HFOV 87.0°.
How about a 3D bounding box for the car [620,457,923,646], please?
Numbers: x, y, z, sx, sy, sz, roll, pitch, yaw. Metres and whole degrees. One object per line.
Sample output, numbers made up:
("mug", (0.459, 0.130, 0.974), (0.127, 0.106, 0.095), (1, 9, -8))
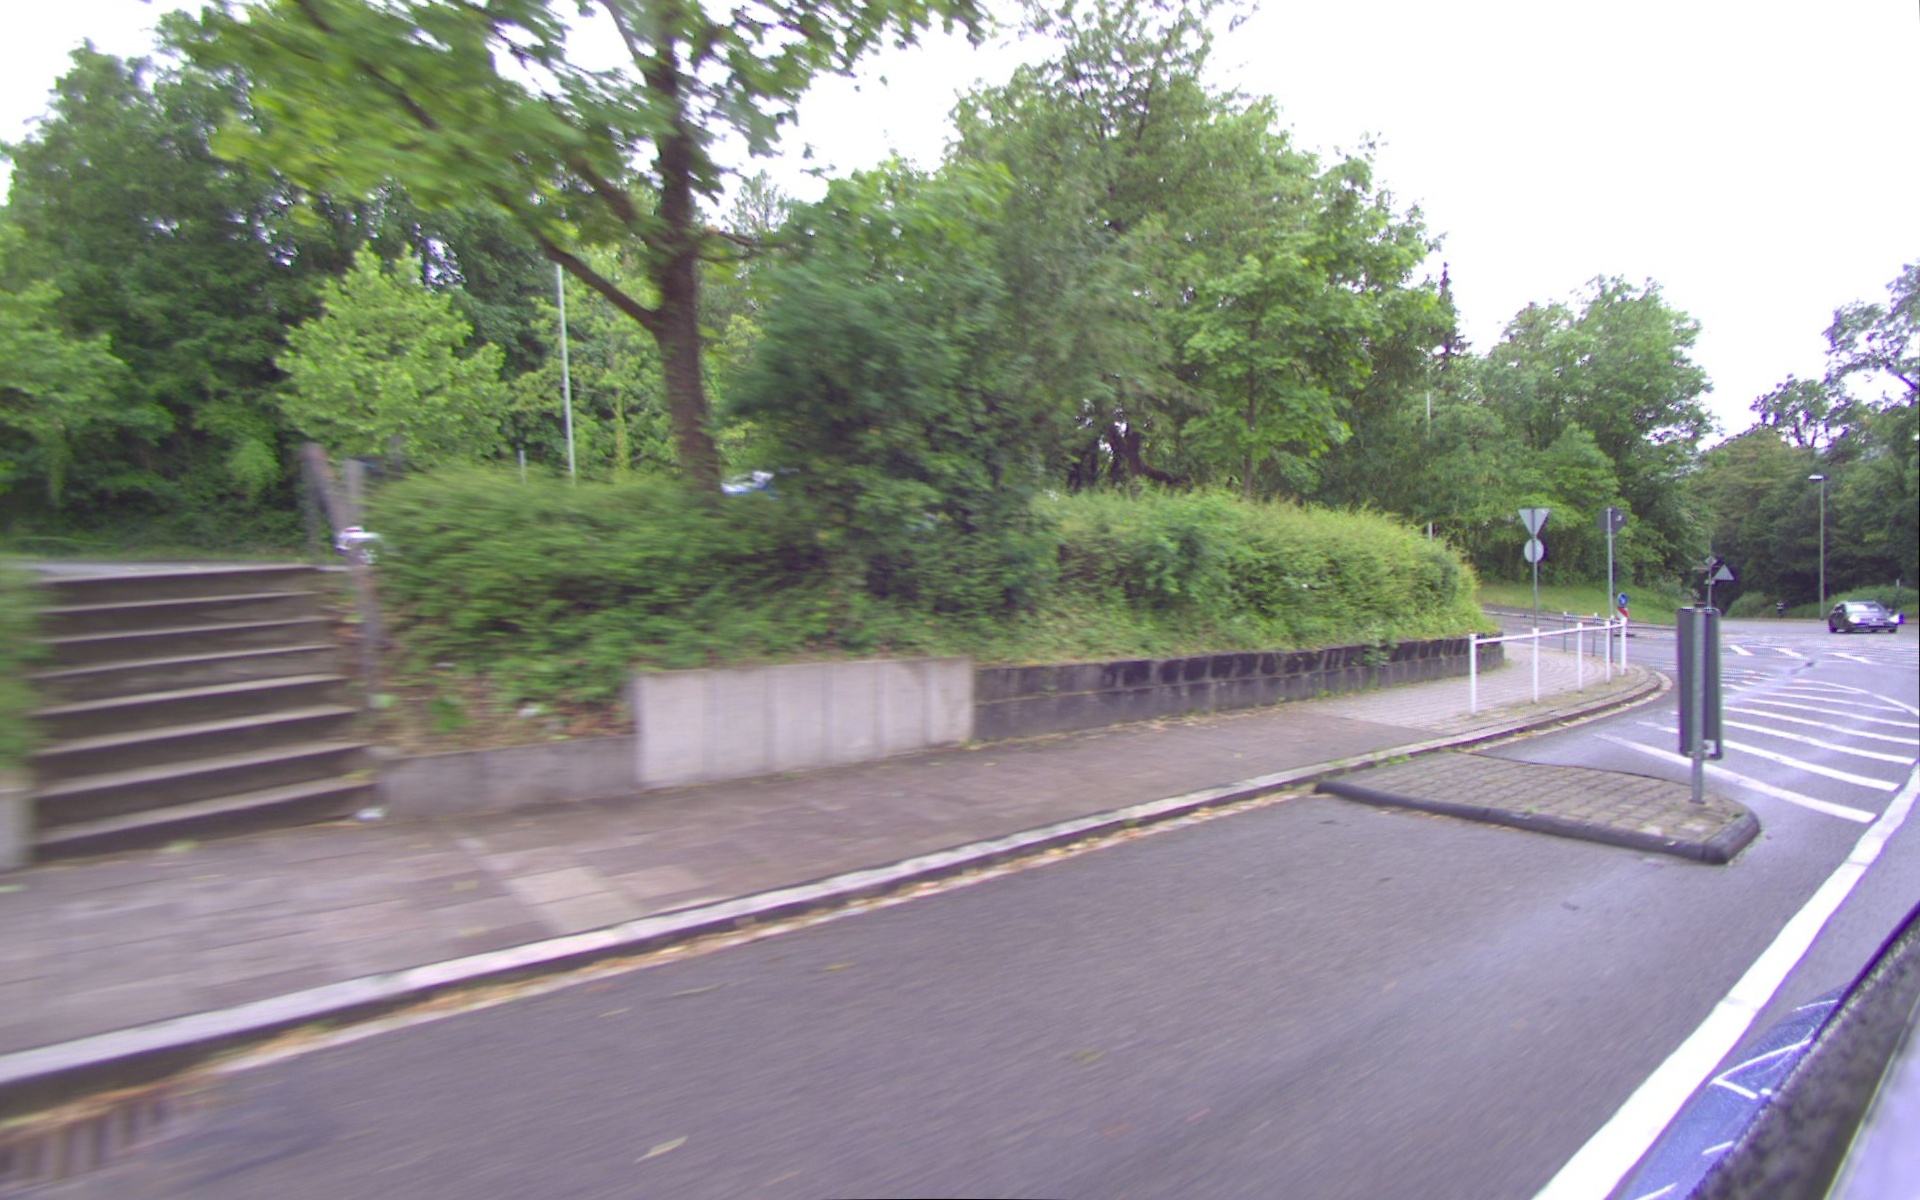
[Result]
("car", (-2.287, -0.533, 12.652), (3.357, 2.039, 1.687), (0, 0, -42))

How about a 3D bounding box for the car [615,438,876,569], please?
("car", (-2.521, -1.069, 12.196), (2.831, 1.325, 1.307), (-1, 0, -45))

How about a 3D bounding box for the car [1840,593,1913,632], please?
("car", (41.890, 0.527, 46.355), (2.025, 1.722, 3.948), (0, 0, 36))

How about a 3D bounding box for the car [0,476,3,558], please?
("car", (-23.120, -1.882, 21.503), (3.930, 1.839, 1.997), (0, 0, -41))
